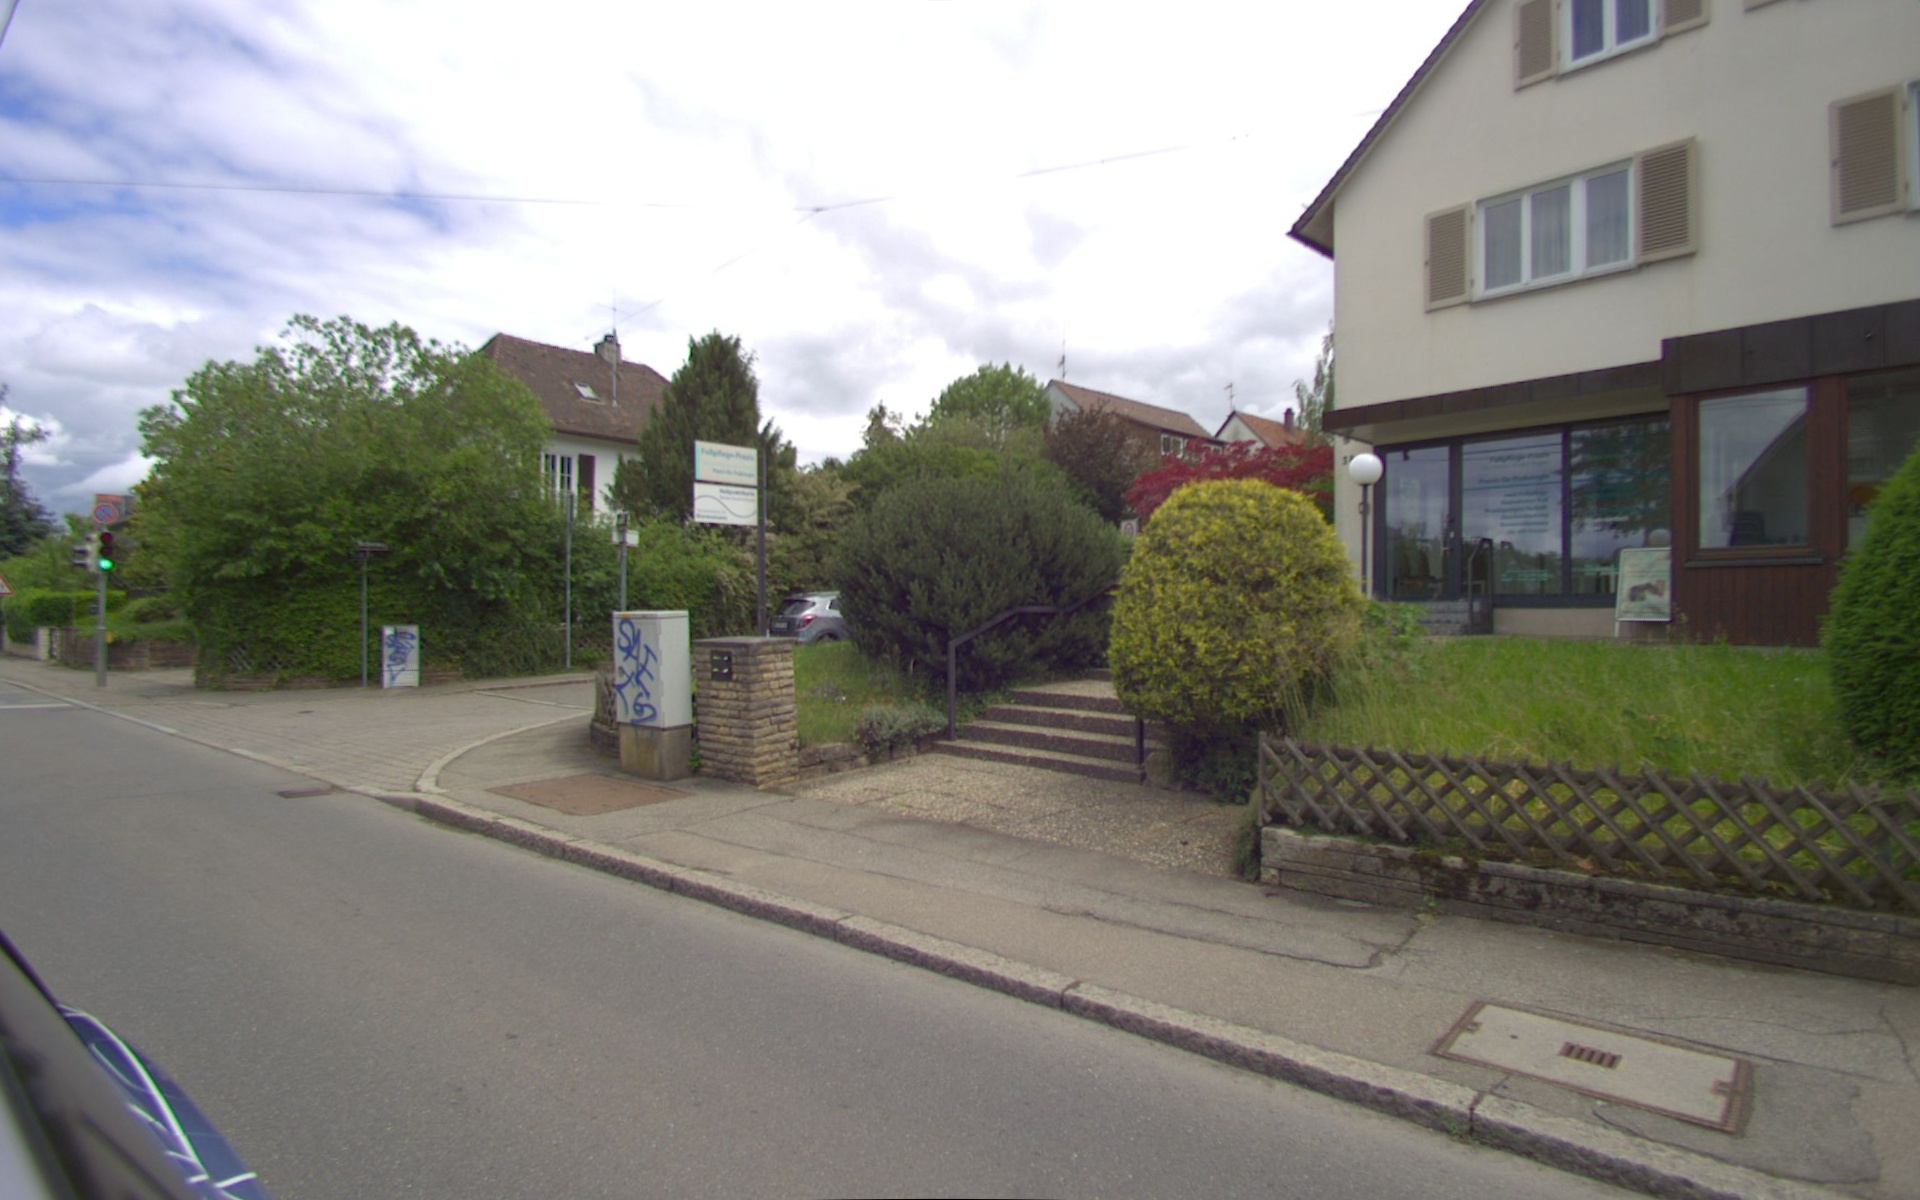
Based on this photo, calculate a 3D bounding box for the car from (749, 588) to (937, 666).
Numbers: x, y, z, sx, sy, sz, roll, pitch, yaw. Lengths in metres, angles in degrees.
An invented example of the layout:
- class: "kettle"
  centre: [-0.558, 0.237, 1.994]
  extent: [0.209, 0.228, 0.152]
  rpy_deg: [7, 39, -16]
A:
- class: "car"
  centre: [-2.622, 0.567, 23.216]
  extent: [3.940, 1.609, 1.879]
  rpy_deg: [-1, 0, -44]
